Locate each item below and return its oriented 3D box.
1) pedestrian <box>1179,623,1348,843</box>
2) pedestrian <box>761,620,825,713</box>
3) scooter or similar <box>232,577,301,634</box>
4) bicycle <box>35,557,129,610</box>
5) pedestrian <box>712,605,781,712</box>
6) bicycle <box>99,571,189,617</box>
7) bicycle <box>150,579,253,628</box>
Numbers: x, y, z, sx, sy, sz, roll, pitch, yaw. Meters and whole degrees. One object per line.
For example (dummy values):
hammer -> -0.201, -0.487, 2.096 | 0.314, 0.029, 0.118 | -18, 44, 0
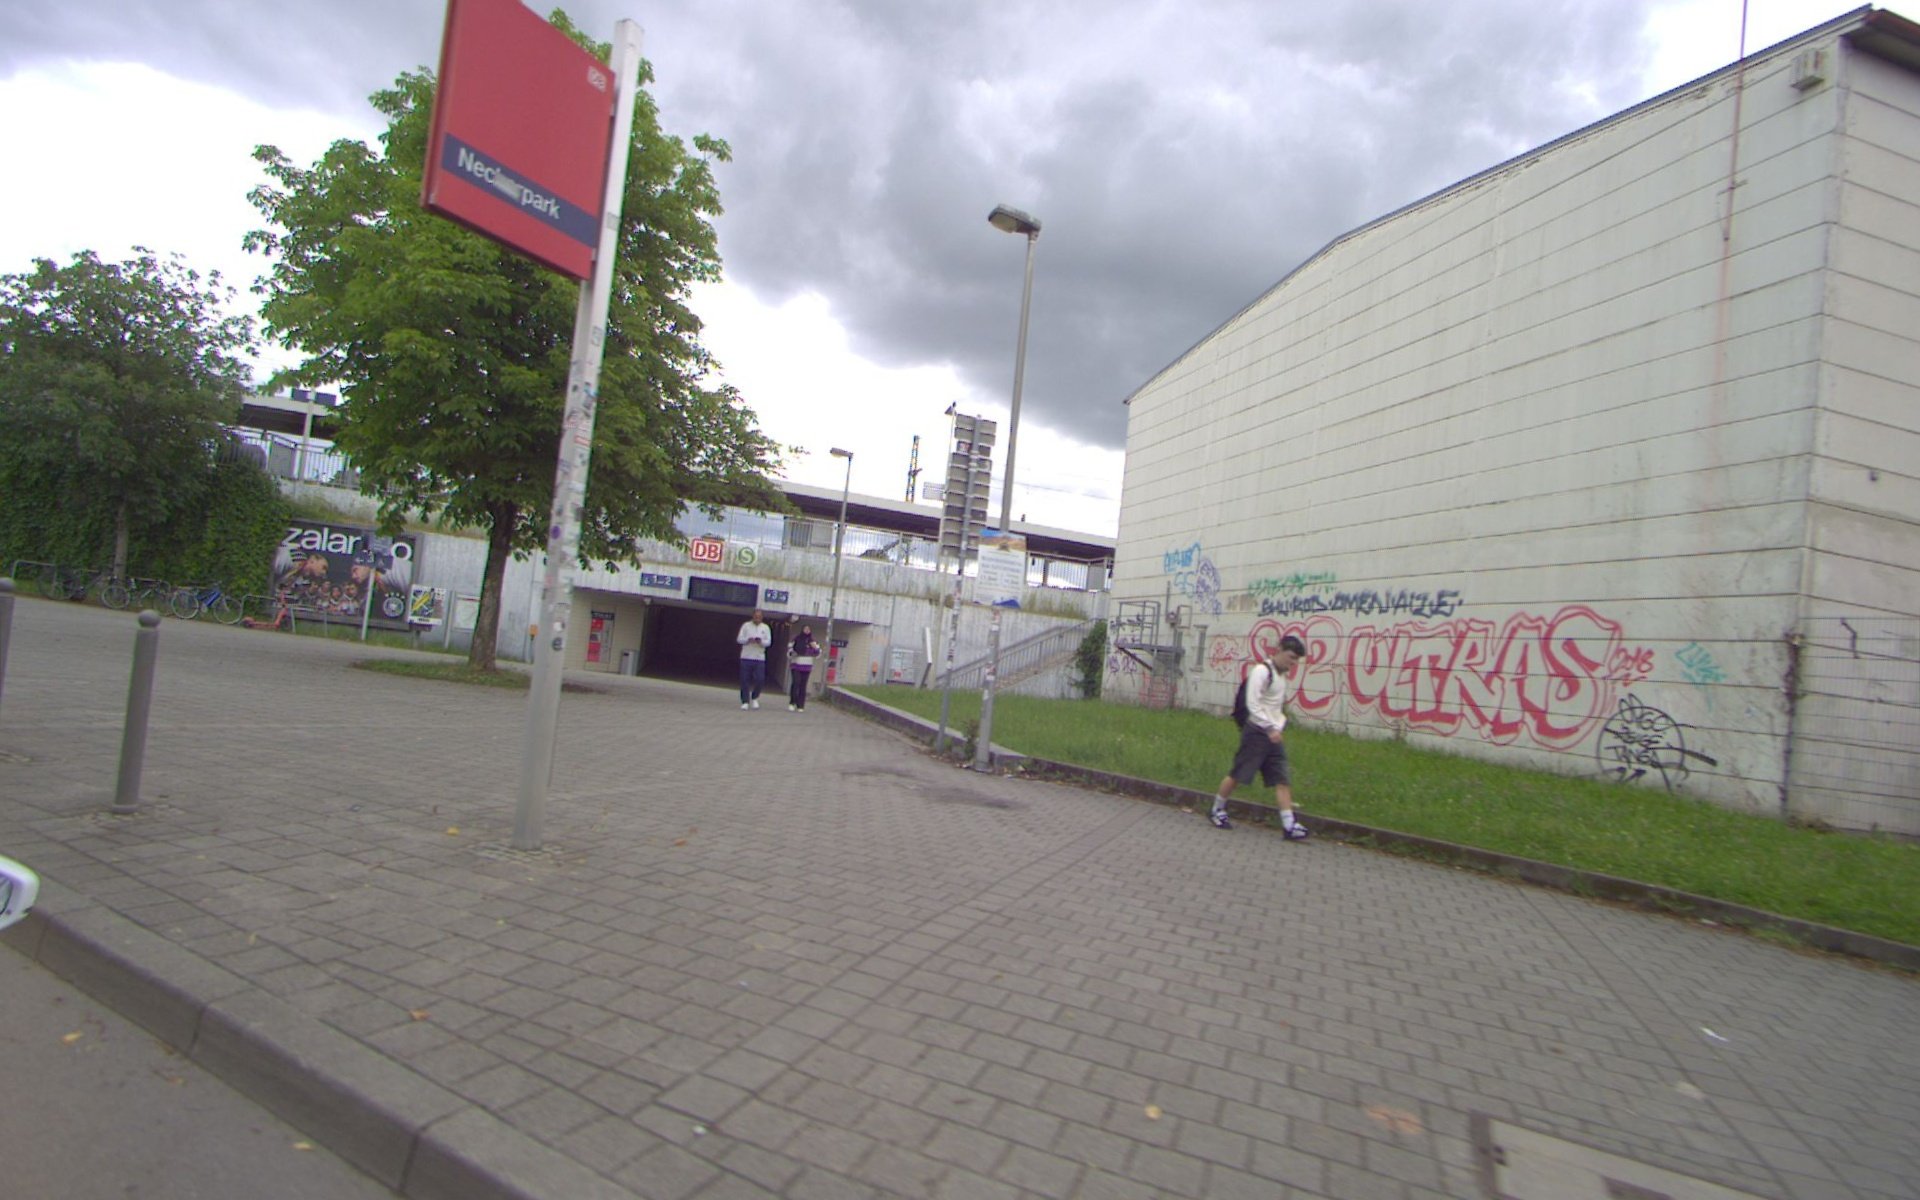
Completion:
pedestrian -> 2.563, 1.100, 8.539 | 0.842, 1.703, 0.932 | 6, -2, -33
pedestrian -> -3.072, 1.215, 18.485 | 0.793, 1.601, 0.796 | 7, -2, -30
scooter or similar -> -17.325, 0.148, 25.164 | 0.460, 1.218, 1.193 | 6, -5, 24
bicycle -> -21.092, -0.397, 24.179 | 0.684, 1.000, 1.489 | 6, -5, 38
pedestrian -> -3.655, 0.999, 17.214 | 0.808, 1.722, 0.744 | 7, -2, -30
bicycle -> -20.061, -0.129, 24.754 | 0.455, 0.862, 1.583 | 7, -5, 24
bicycle -> -18.806, 0.107, 25.000 | 0.501, 0.873, 1.977 | 7, -6, 21
